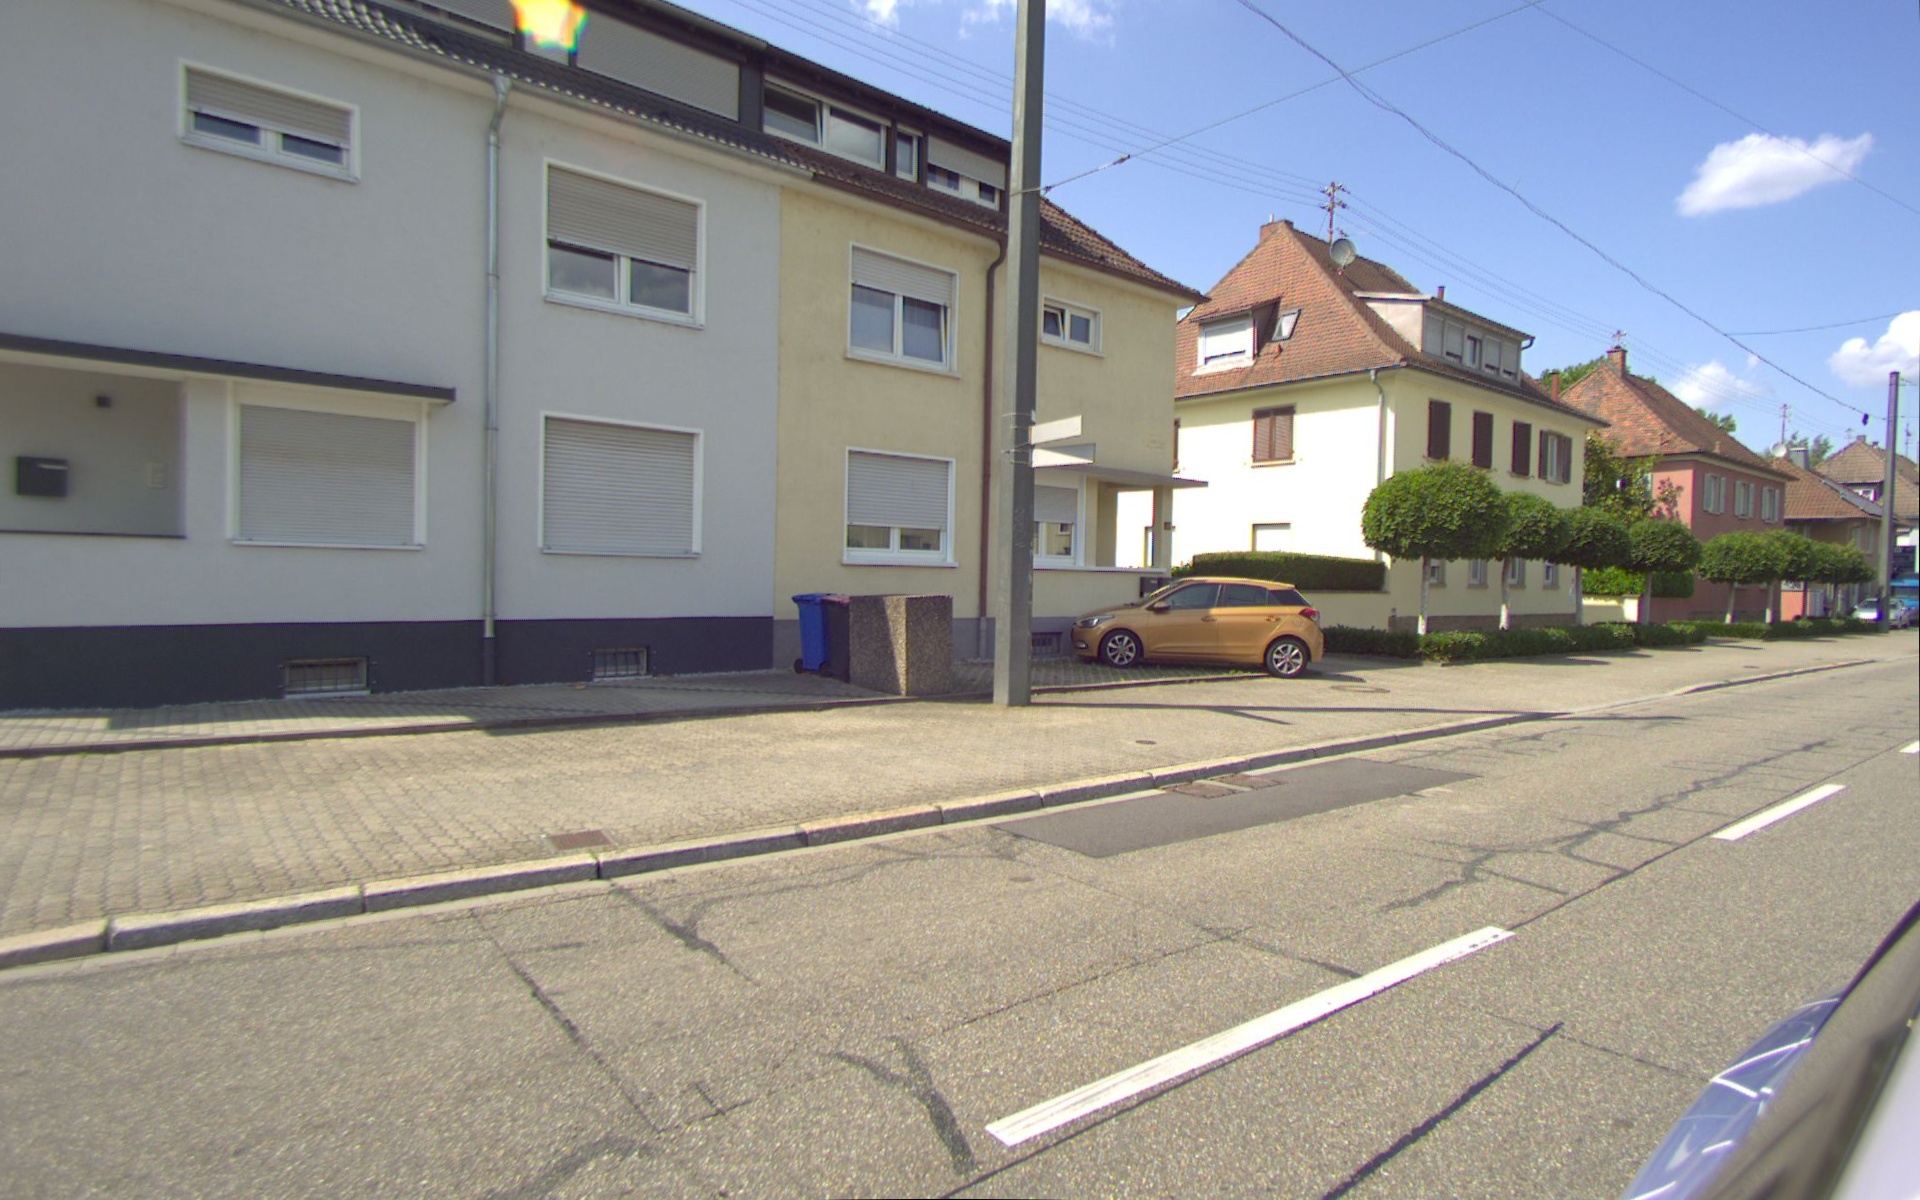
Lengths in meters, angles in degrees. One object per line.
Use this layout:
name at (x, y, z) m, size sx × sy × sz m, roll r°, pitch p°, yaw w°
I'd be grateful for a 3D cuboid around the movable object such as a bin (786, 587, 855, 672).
movable object such as a bin at (-1.844, 0.375, 13.345) m, size 0.648 × 1.069 × 0.646 m, roll 0°, pitch 1°, yaw -41°

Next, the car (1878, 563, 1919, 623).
car at (49.922, -0.384, 52.492) m, size 6.126 × 2.967 × 2.158 m, roll 0°, pitch 1°, yaw -35°

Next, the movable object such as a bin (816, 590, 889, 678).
movable object such as a bin at (-1.364, 0.417, 12.828) m, size 0.673 × 1.061 × 0.639 m, roll 0°, pitch 1°, yaw -41°

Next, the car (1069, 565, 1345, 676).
car at (3.859, 0.281, 16.357) m, size 4.027 × 1.476 × 1.911 m, roll 3°, pitch 1°, yaw 10°

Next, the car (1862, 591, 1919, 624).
car at (44.592, 0.347, 48.296) m, size 4.273 × 1.426 × 1.653 m, roll -1°, pitch 3°, yaw -40°
